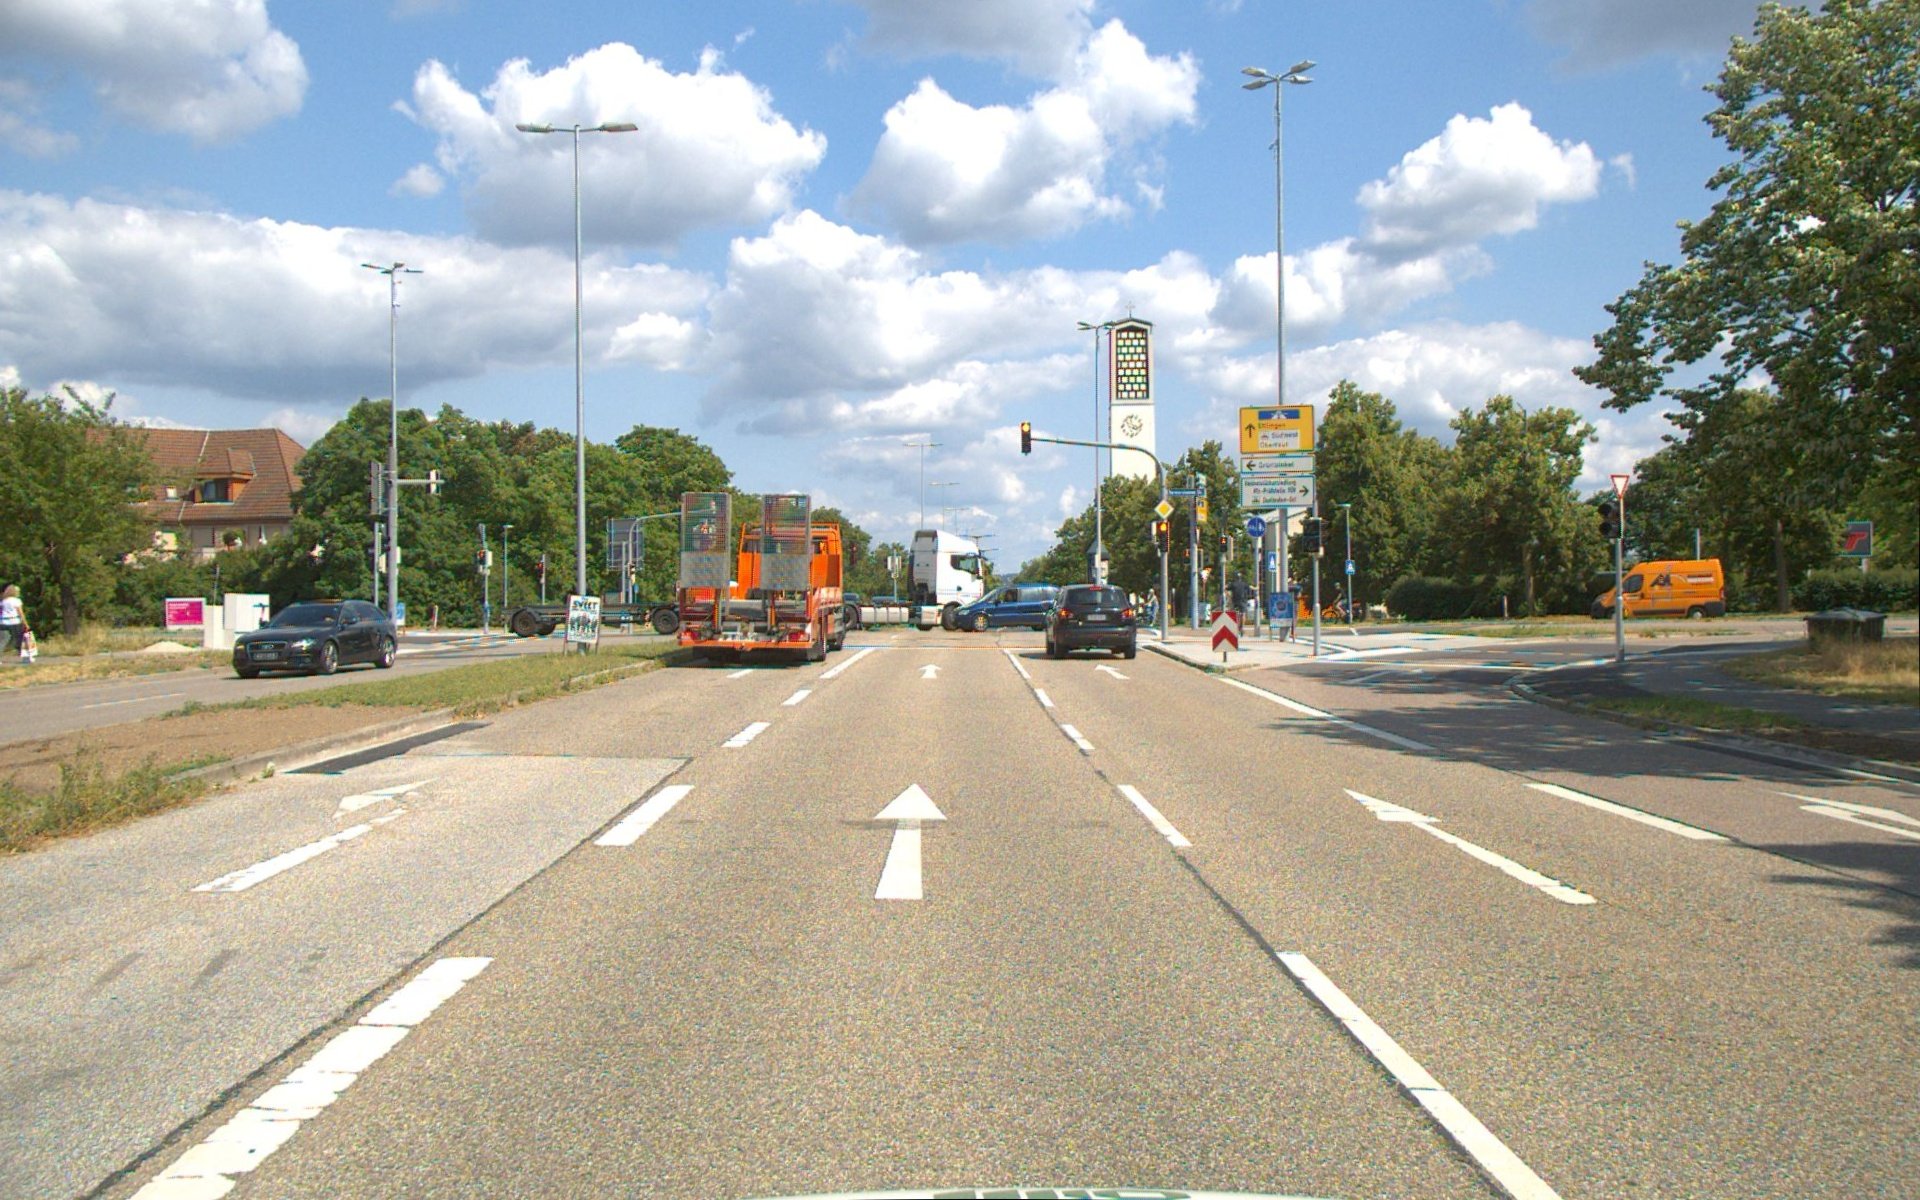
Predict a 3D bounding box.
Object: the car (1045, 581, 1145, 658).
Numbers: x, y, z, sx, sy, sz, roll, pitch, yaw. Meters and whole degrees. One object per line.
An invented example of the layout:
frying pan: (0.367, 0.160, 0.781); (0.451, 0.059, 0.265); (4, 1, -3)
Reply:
car: (2.915, 0.430, 36.465); (1.763, 1.579, 3.999); (1, -1, -1)

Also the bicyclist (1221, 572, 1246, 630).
bicyclist: (8.069, 0.031, 48.787); (0.634, 1.690, 0.650); (1, -1, 15)

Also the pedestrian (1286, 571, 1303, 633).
pedestrian: (9.801, 0.059, 48.490); (0.454, 1.810, 0.482); (1, -1, 10)

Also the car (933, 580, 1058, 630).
car: (1.246, 0.188, 58.427); (4.123, 1.601, 1.851); (2, -1, -10)

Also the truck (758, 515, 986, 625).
truck: (-3.352, -1.102, 64.236); (8.521, 4.040, 2.938); (0, 0, -31)

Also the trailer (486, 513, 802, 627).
trailer: (-11.571, -1.083, 61.497); (11.050, 4.082, 3.632); (0, 0, 0)

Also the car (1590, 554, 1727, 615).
car: (27.443, -0.609, 65.159); (4.742, 2.265, 2.213); (1, -1, 17)

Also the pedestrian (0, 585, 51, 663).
pedestrian: (-19.591, 0.500, 34.557); (0.682, 1.611, 0.851); (1, -1, -1)

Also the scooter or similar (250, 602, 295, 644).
scooter or similar: (-19.878, 0.674, 47.881); (0.577, 1.184, 1.761); (1, -1, -2)

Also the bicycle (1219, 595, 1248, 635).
bicycle: (8.107, 0.453, 48.970); (0.634, 1.127, 1.929); (1, -1, 14)

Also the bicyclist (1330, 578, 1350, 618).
bicyclist: (17.621, -0.097, 76.752); (0.771, 1.836, 0.685); (-1, -1, 24)

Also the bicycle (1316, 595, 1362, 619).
bicycle: (17.593, 0.338, 76.757); (1.957, 1.113, 0.685); (-1, -1, 24)

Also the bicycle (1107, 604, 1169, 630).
bicycle: (7.820, 0.738, 72.594); (2.801, 1.131, 0.790); (0, 0, -28)

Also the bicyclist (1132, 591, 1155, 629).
bicyclist: (8.075, 0.443, 72.731); (0.690, 1.644, 0.790); (0, 0, -28)

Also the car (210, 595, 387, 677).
car: (-12.998, 0.681, 32.797); (1.736, 1.463, 4.574); (-1, 0, -1)

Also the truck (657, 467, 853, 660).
truck: (-4.109, -0.605, 35.875); (3.008, 3.474, 11.064); (1, -1, -1)
